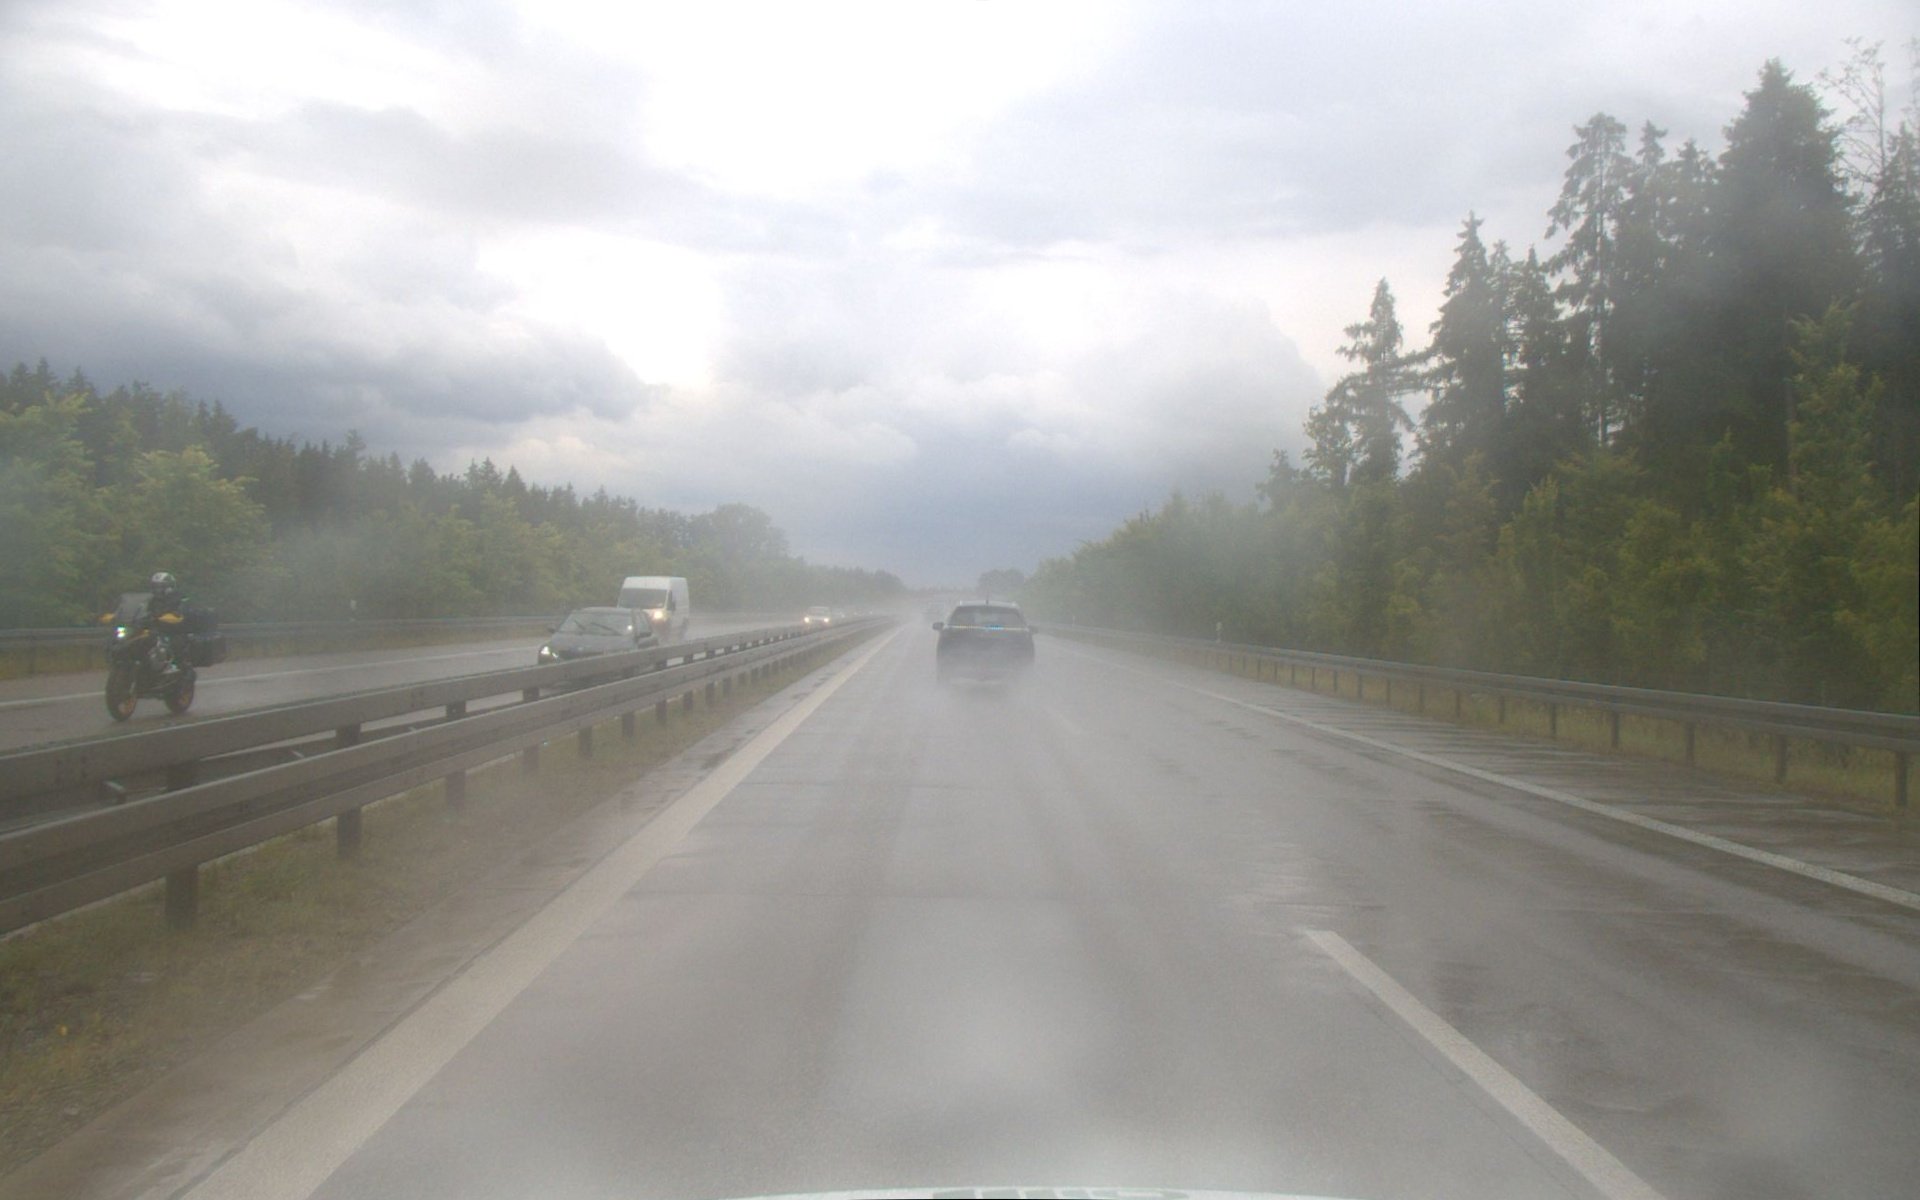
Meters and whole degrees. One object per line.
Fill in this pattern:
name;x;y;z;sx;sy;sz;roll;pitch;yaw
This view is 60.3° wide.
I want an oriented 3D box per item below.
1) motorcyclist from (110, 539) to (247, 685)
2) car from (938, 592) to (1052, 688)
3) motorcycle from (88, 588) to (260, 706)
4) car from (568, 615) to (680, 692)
motorcyclist;-10.001;0.150;21.224;1.046;1.787;1.444;1;0;-1
car;0.594;0.753;30.773;1.856;1.604;3.630;2;-2;-2
motorcycle;-10.007;0.570;21.179;1.051;1.413;2.413;1;0;-1
car;-6.994;1.082;34.837;1.733;1.443;4.602;1;0;-4
